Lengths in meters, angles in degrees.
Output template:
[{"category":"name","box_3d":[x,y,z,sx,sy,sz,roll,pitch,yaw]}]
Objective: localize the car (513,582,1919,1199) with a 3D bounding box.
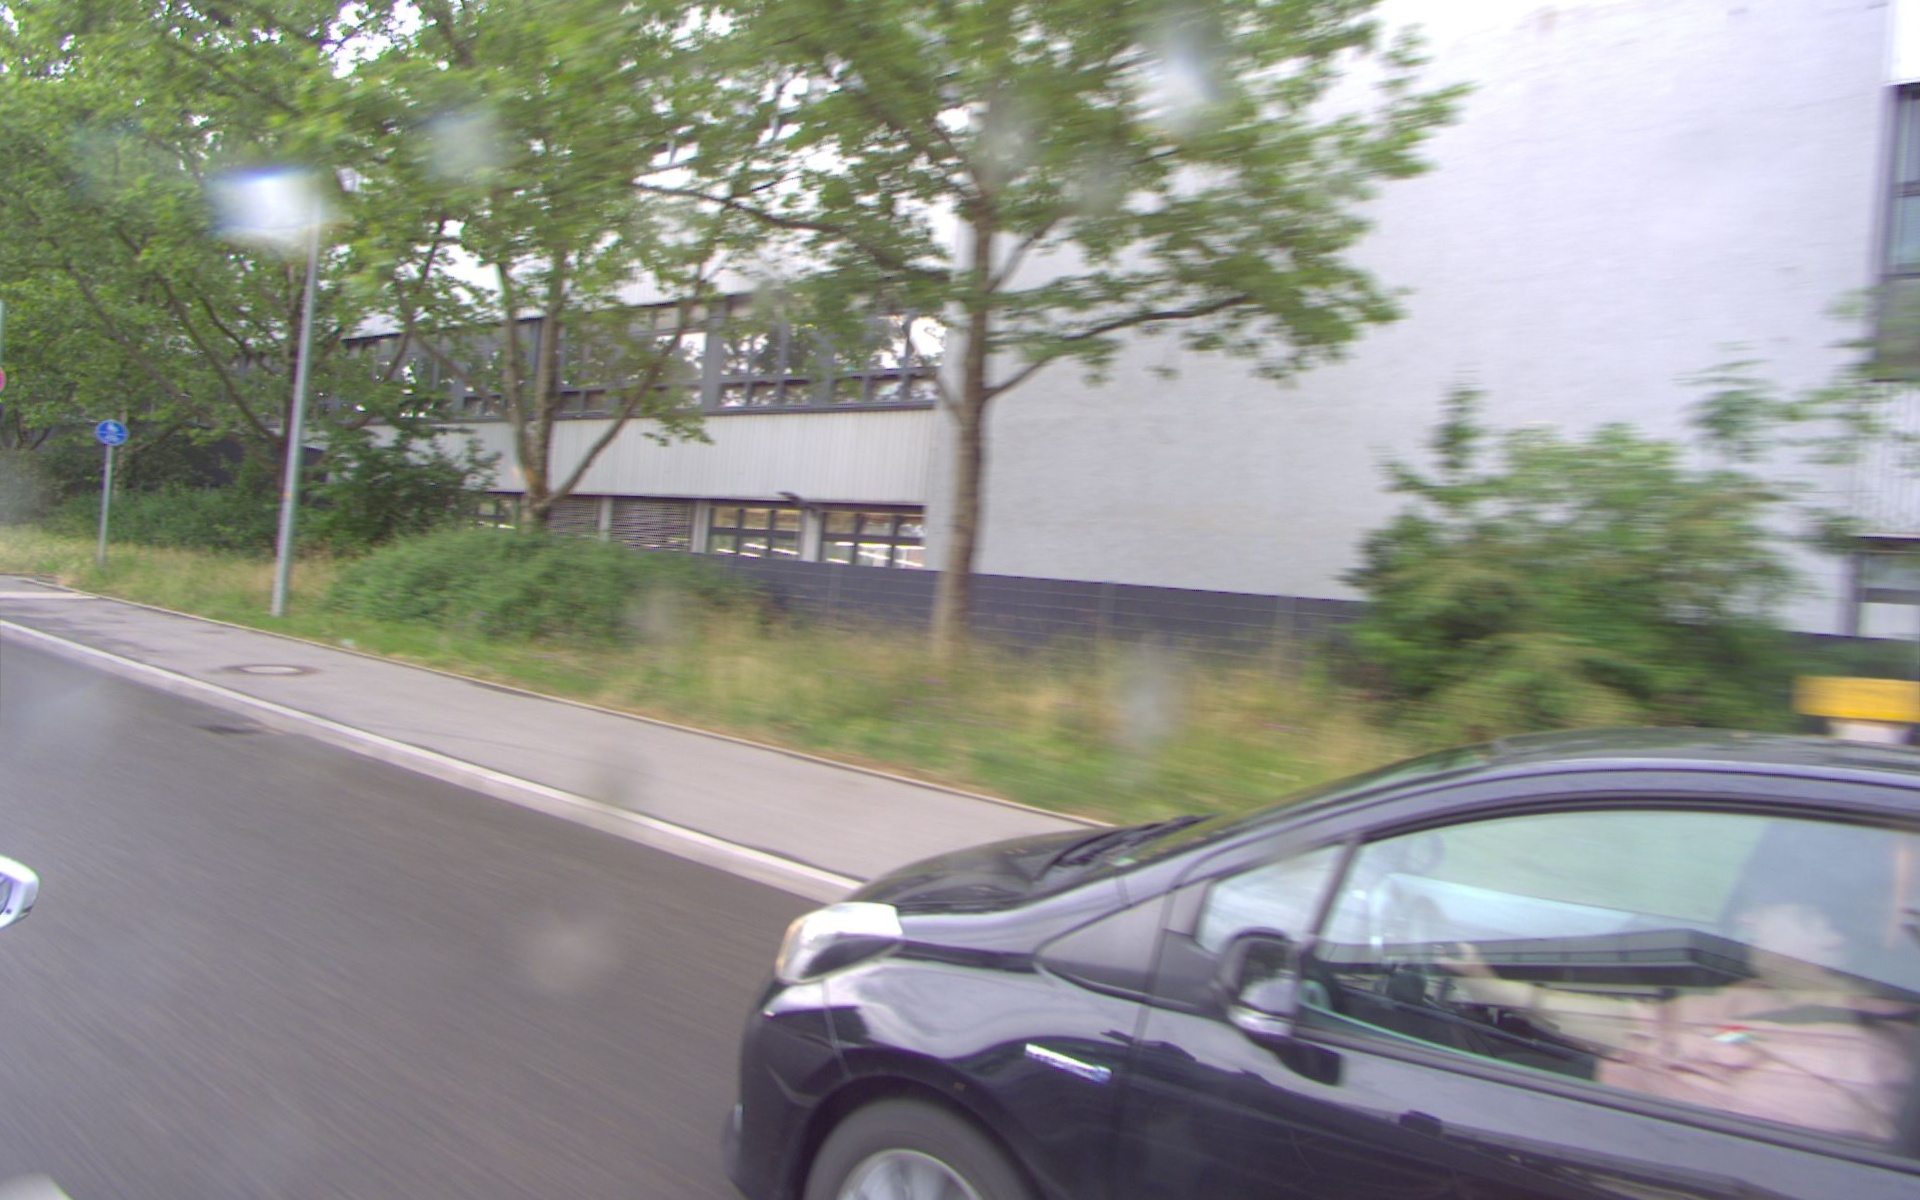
[{"category":"car","box_3d":[1.416,0.983,1.936,4.563,1.487,1.748,6,-1,31]}]
